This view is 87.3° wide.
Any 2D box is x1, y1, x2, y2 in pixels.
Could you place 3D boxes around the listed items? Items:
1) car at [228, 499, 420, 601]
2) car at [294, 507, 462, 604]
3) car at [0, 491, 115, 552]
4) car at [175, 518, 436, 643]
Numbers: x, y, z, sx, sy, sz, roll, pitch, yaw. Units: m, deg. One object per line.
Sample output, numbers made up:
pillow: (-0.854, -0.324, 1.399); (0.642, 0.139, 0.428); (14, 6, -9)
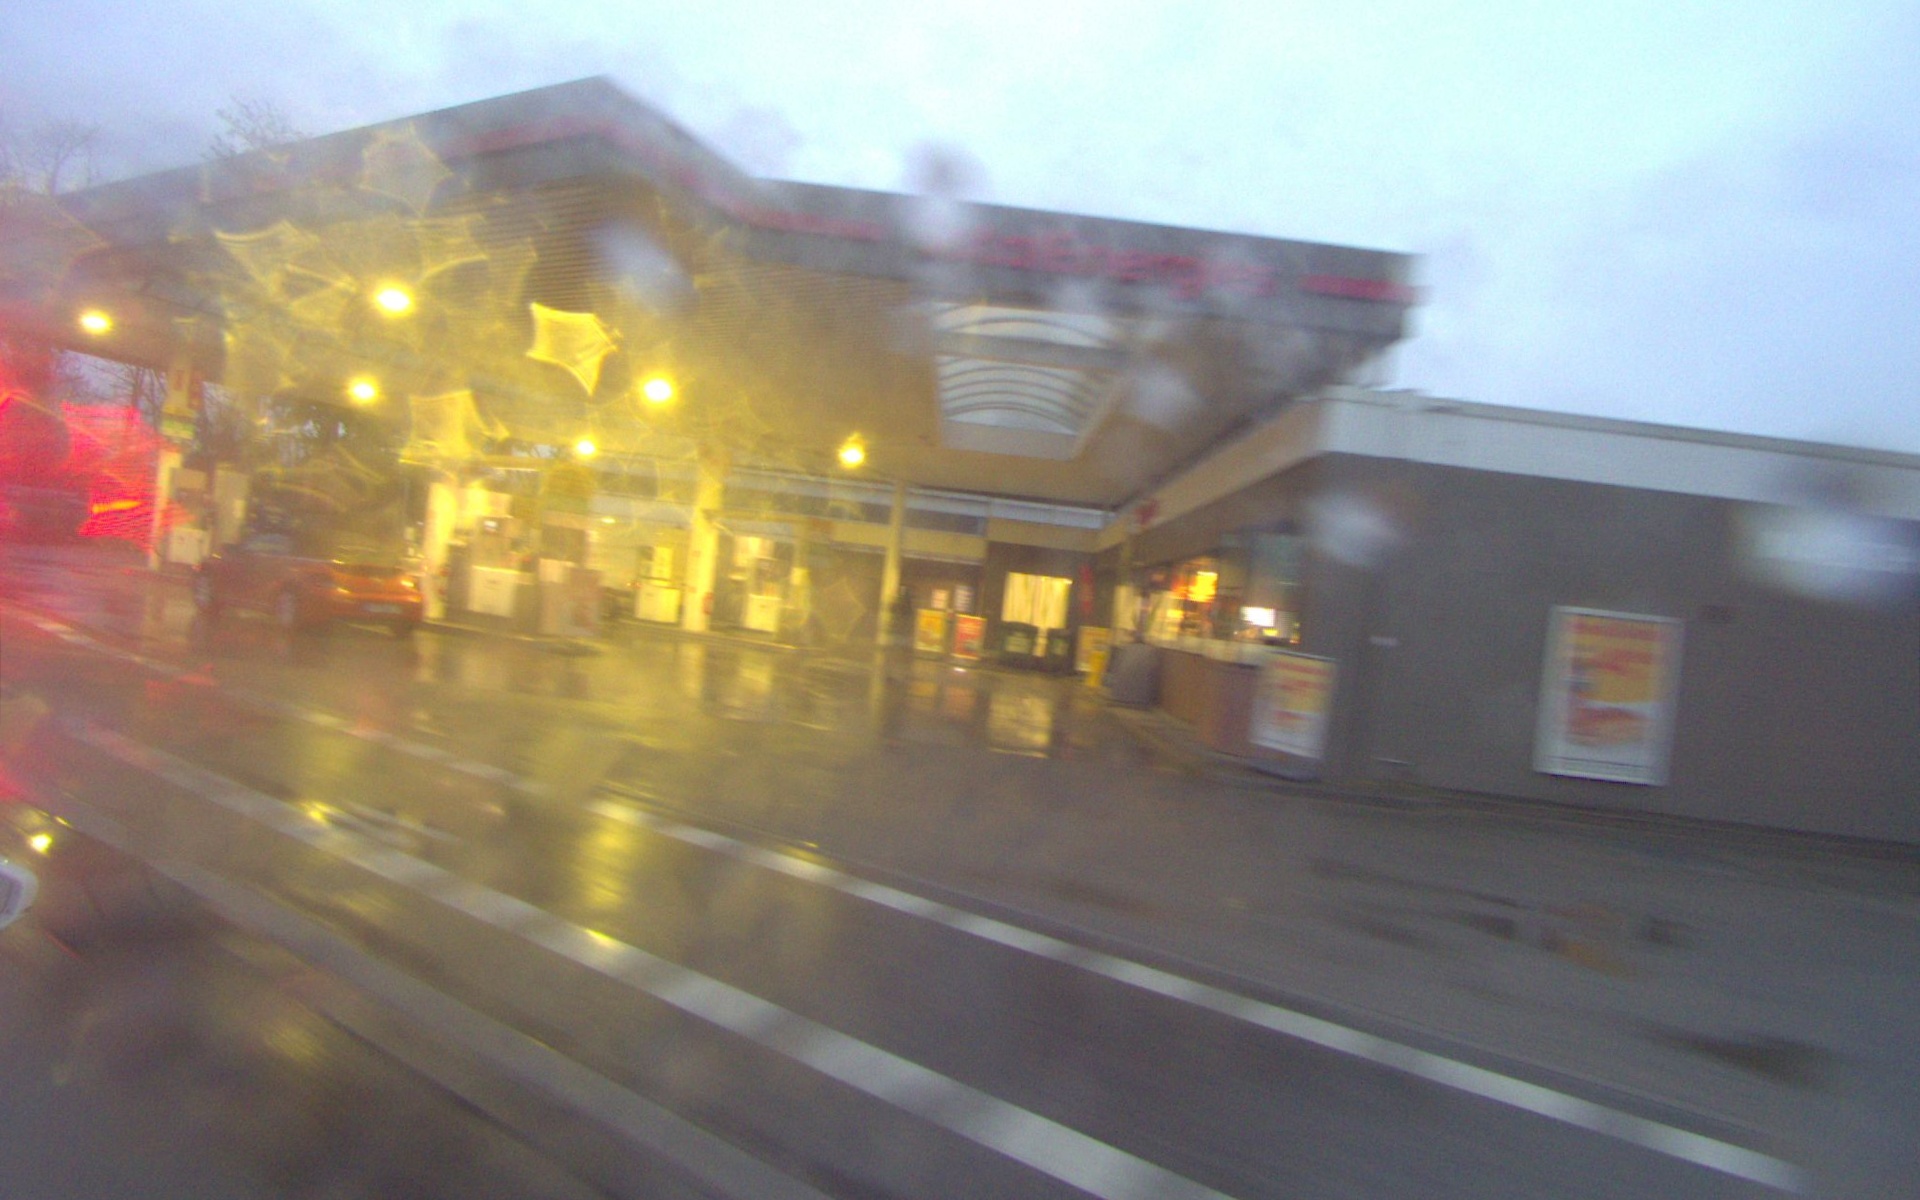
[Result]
car: (-14.879, -1.178, 23.487); (4.226, 1.883, 1.995); (6, 1, 31)
car: (-15.251, -1.175, 26.349); (3.933, 2.038, 1.997); (6, 0, 31)
car: (-30.102, -2.584, 32.753); (1.987, 1.628, 4.472); (7, -1, -12)
car: (-9.930, -0.320, 15.185); (4.098, 1.414, 1.574); (7, 1, 31)
